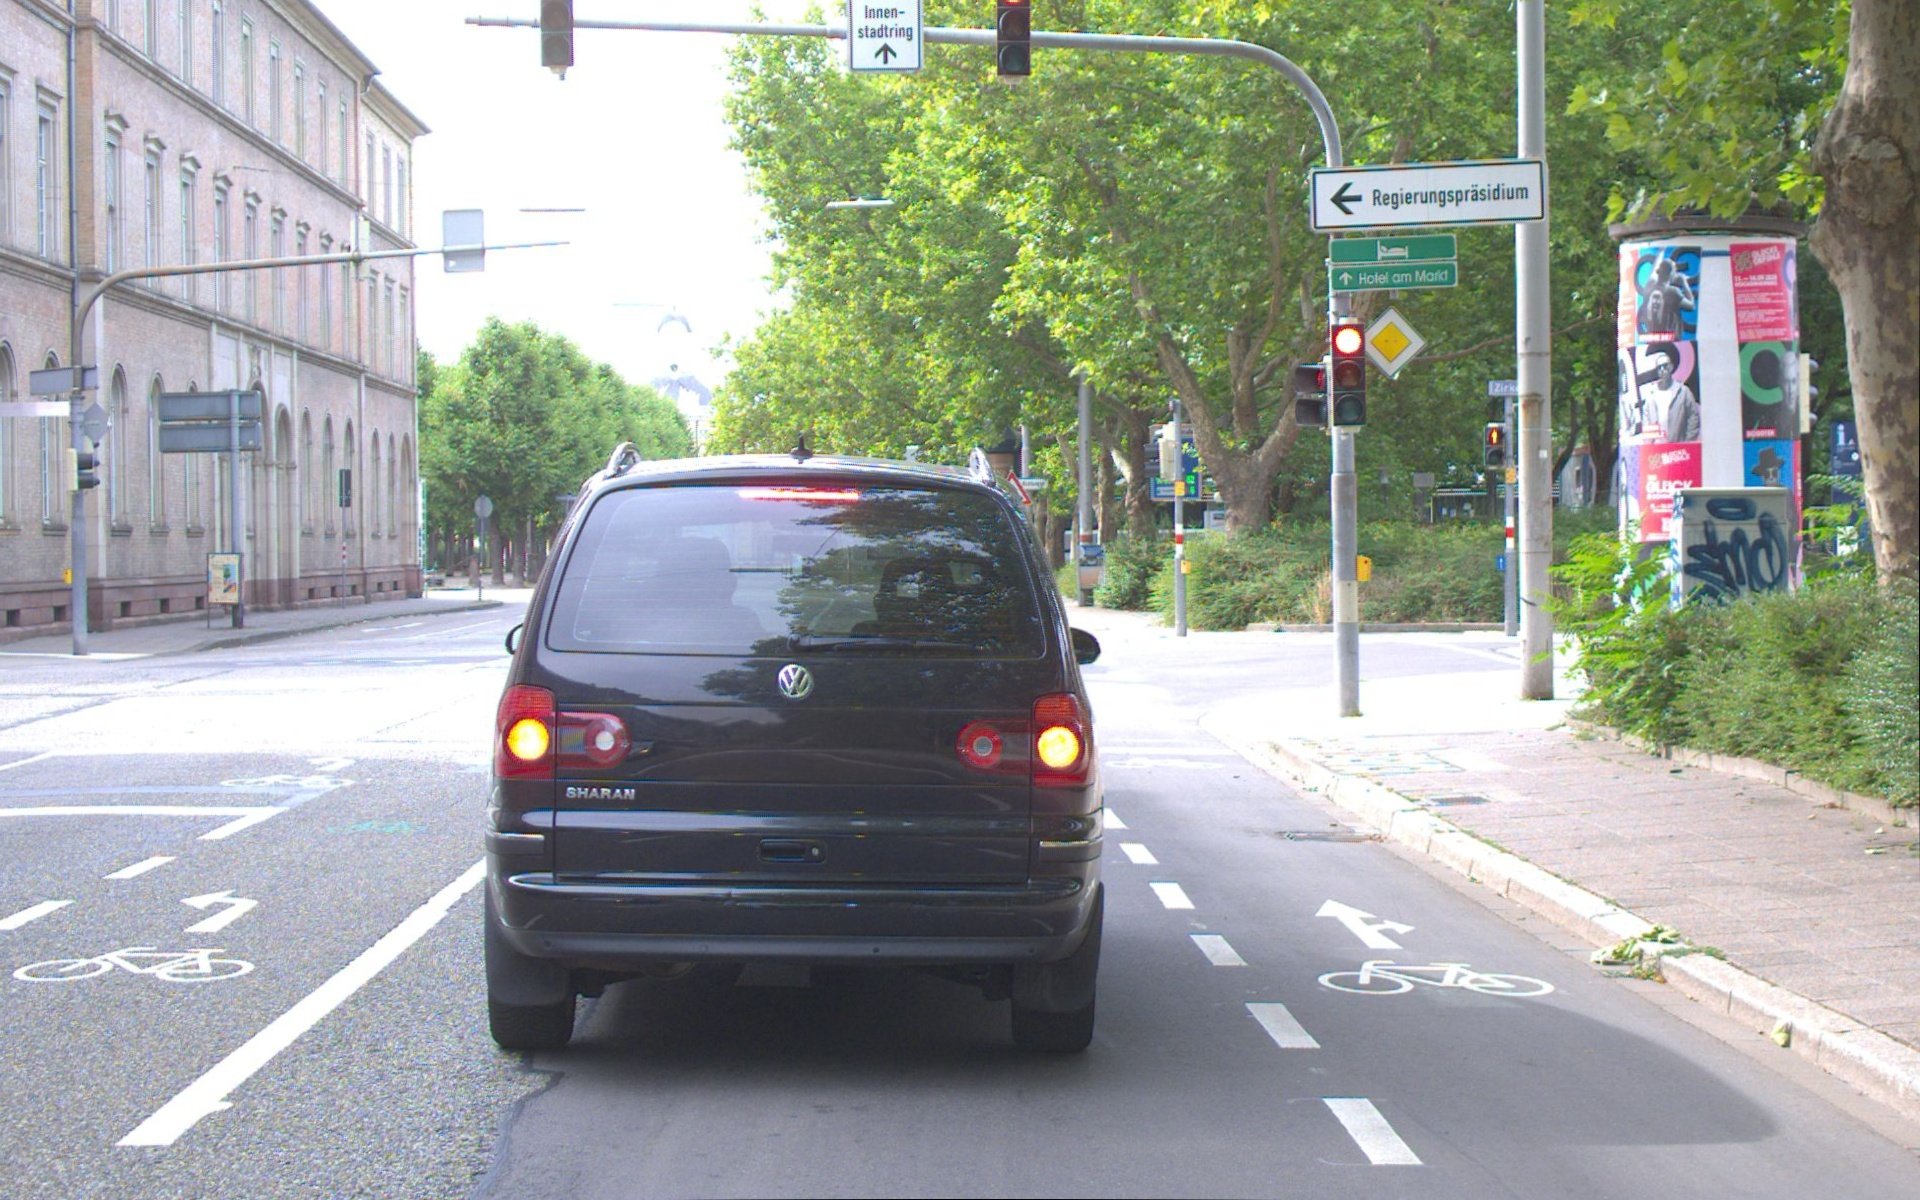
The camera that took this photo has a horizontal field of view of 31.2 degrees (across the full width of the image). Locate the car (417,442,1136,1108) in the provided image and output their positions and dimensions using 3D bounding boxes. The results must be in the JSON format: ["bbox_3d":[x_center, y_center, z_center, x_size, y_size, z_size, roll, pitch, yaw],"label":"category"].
[{"bbox_3d":[-0.461,0.408,11.292,1.874,1.739,4.574,0,1,0],"label":"car"}]

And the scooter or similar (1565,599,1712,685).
[{"bbox_3d":[5.980,0.368,30.327,1.219,0.734,0.369,-1,1,-2],"label":"scooter or similar"}]
